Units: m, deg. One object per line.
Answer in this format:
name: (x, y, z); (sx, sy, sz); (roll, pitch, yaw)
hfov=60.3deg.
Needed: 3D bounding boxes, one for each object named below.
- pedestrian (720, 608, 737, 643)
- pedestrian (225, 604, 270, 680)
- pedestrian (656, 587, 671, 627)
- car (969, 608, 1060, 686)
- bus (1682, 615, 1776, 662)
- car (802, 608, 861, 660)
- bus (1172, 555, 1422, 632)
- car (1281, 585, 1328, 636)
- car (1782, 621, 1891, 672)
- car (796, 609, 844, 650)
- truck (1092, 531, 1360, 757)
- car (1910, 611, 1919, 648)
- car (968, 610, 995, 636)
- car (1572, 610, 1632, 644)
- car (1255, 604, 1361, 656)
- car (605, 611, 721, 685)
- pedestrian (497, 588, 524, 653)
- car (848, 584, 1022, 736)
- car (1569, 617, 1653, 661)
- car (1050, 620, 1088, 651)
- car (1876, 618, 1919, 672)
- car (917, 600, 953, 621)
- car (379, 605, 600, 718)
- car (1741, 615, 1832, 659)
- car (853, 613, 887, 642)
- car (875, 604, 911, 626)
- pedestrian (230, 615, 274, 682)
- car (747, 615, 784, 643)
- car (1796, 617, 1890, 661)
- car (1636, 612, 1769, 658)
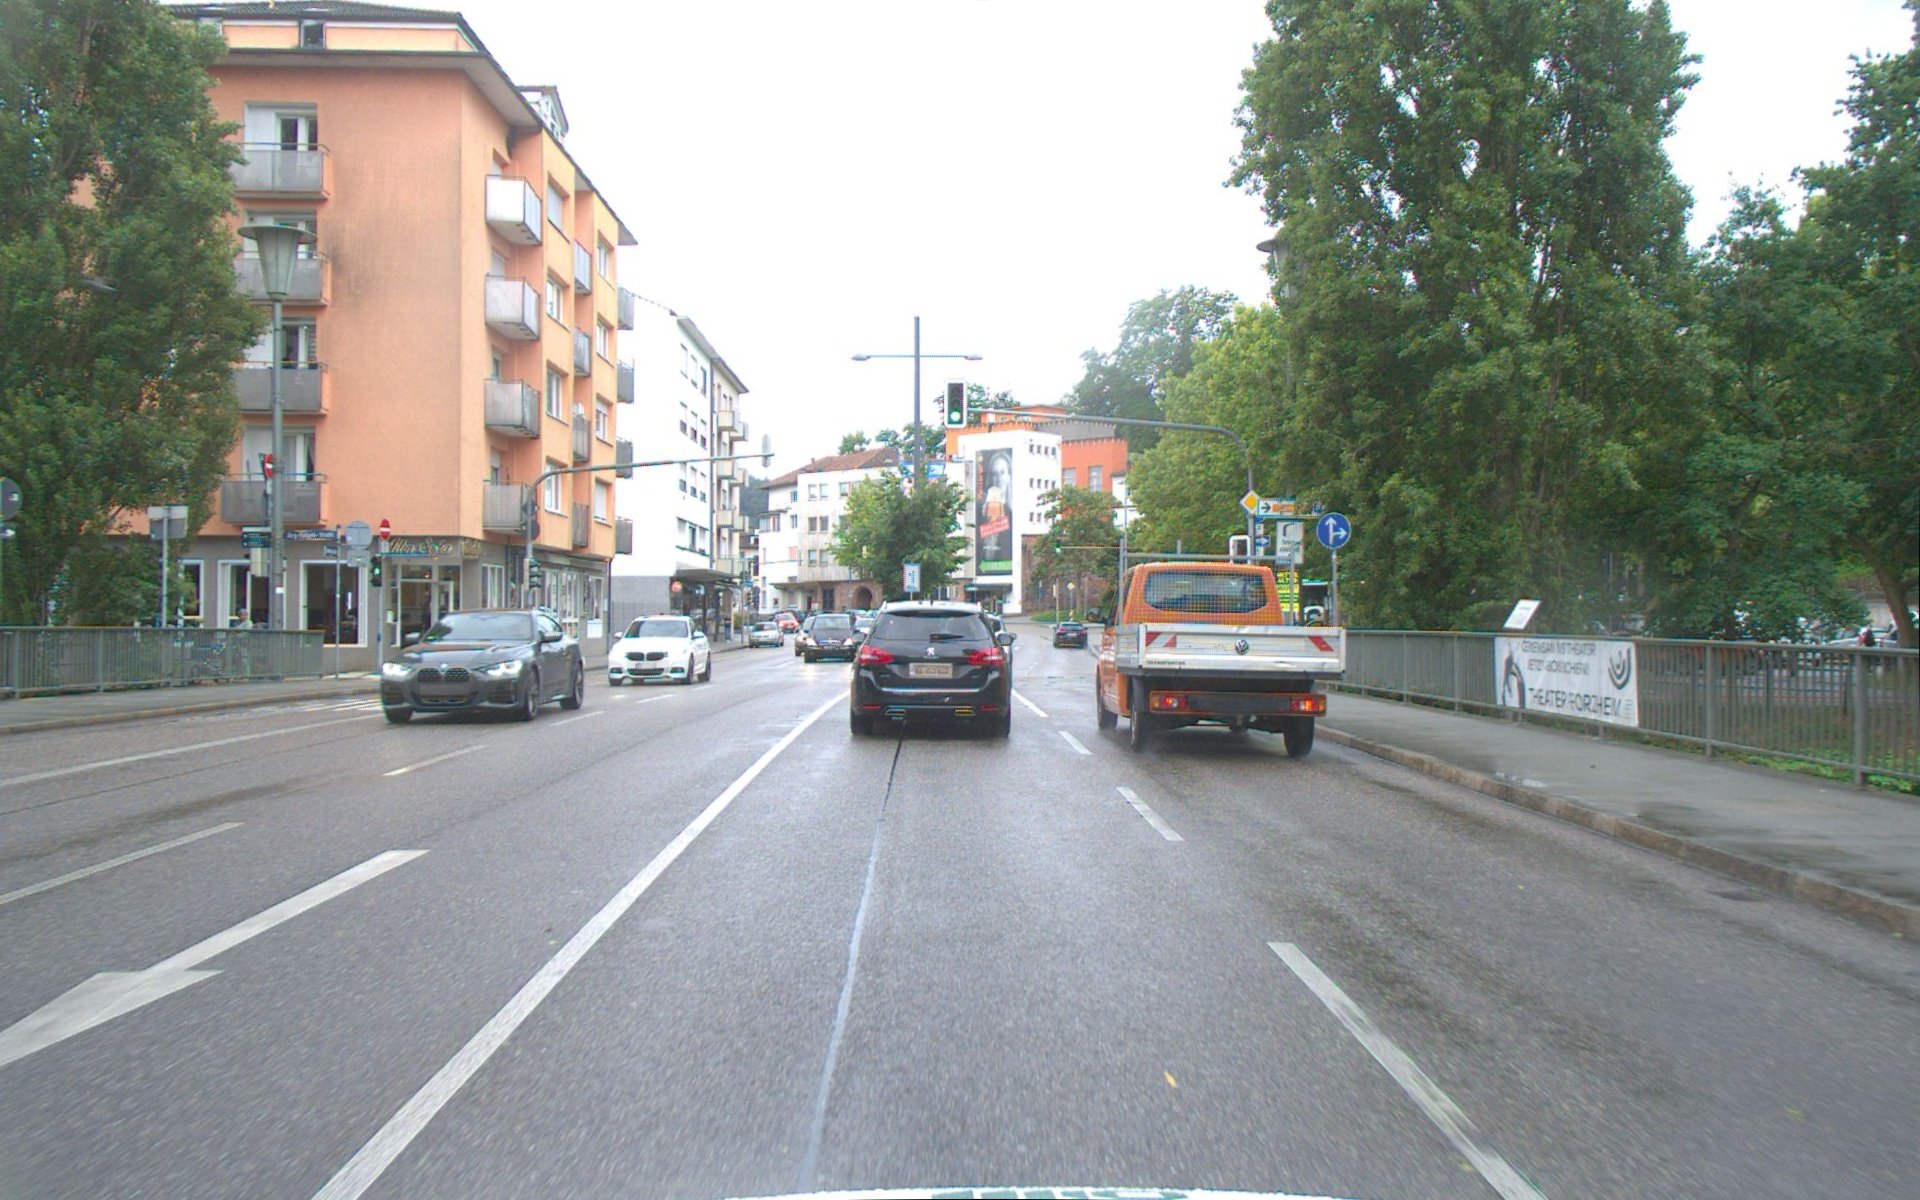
pedestrian: (-14.180, 1.561, 101.215); (0.720, 2.049, 0.650); (5, -3, -34)
pedestrian: (-16.237, 0.967, 37.675); (0.783, 1.692, 0.619); (-3, -3, 34)
pedestrian: (-14.011, 0.335, 78.127); (0.626, 1.893, 0.523); (1, 0, -3)
car: (1.128, 0.921, 34.065); (1.757, 1.509, 4.001); (0, -1, 2)
bus: (30.479, 1.513, 65.652); (1.952, 1.754, 4.001); (1, -1, 2)
car: (-4.305, 1.122, 55.946); (1.701, 1.629, 3.918); (-1, 0, -1)
bus: (24.419, -0.456, 120.650); (17.545, 5.303, 3.099); (1, -1, 2)
car: (21.117, 0.642, 101.542); (2.030, 3.023, 4.227); (1, -1, 0)
car: (32.086, 1.671, 60.656); (1.764, 1.795, 3.944); (0, 0, -3)
car: (-5.762, 1.195, 68.476); (1.701, 1.629, 3.918); (0, 0, -1)
truck: (2.671, 0.395, 17.783); (2.078, 2.060, 4.715); (1, 0, 0)
car: (40.979, 1.226, 67.648); (1.769, 1.577, 4.201); (1, -1, -1)
car: (1.666, 1.763, 127.821); (1.953, 1.853, 3.999); (1, 0, -1)
car: (39.595, 1.649, 102.070); (2.030, 2.029, 4.227); (1, -1, 0)
car: (14.119, 1.200, 67.225); (3.904, 1.958, 1.970); (2, -1, 2)
car: (-6.636, 1.038, 37.390); (1.798, 1.536, 4.820); (0, 0, -1)
pedestrian: (-12.321, 0.556, 45.348); (0.519, 1.757, 0.649); (0, -1, 3)
car: (-0.188, 0.650, 19.035); (1.757, 1.509, 4.001); (2, -1, 2)
car: (25.860, 1.526, 65.817); (1.564, 1.680, 3.633); (-1, -1, -6)
car: (6.095, 1.992, 92.980); (1.612, 1.592, 3.597); (3, -3, -3)
car: (32.855, 1.499, 55.292); (1.764, 1.795, 4.583); (0, 0, -3)
car: (-2.131, 0.919, 138.616); (1.624, 1.592, 3.571); (4, -3, -25)
car: (-6.082, 0.742, 21.914); (1.755, 1.348, 4.405); (0, 0, -1)
car: (33.238, 1.467, 66.613); (1.781, 1.680, 4.001); (1, -1, 2)
car: (-4.829, 1.476, 89.025); (1.620, 1.475, 3.543); (-1, -1, 0)
car: (-5.384, 1.230, 132.391); (1.624, 1.592, 3.571); (4, -3, -25)
pedestrian: (-15.724, 1.081, 36.753); (0.638, 1.471, 0.799); (-1, -2, 0)
car: (-11.086, 1.636, 94.359); (1.741, 1.552, 3.660); (0, 0, -1)
car: (35.657, 1.548, 66.923); (1.781, 1.680, 4.001); (1, -1, 2)
car: (26.891, 1.258, 59.950); (4.040, 1.649, 1.804); (0, -1, -5)
